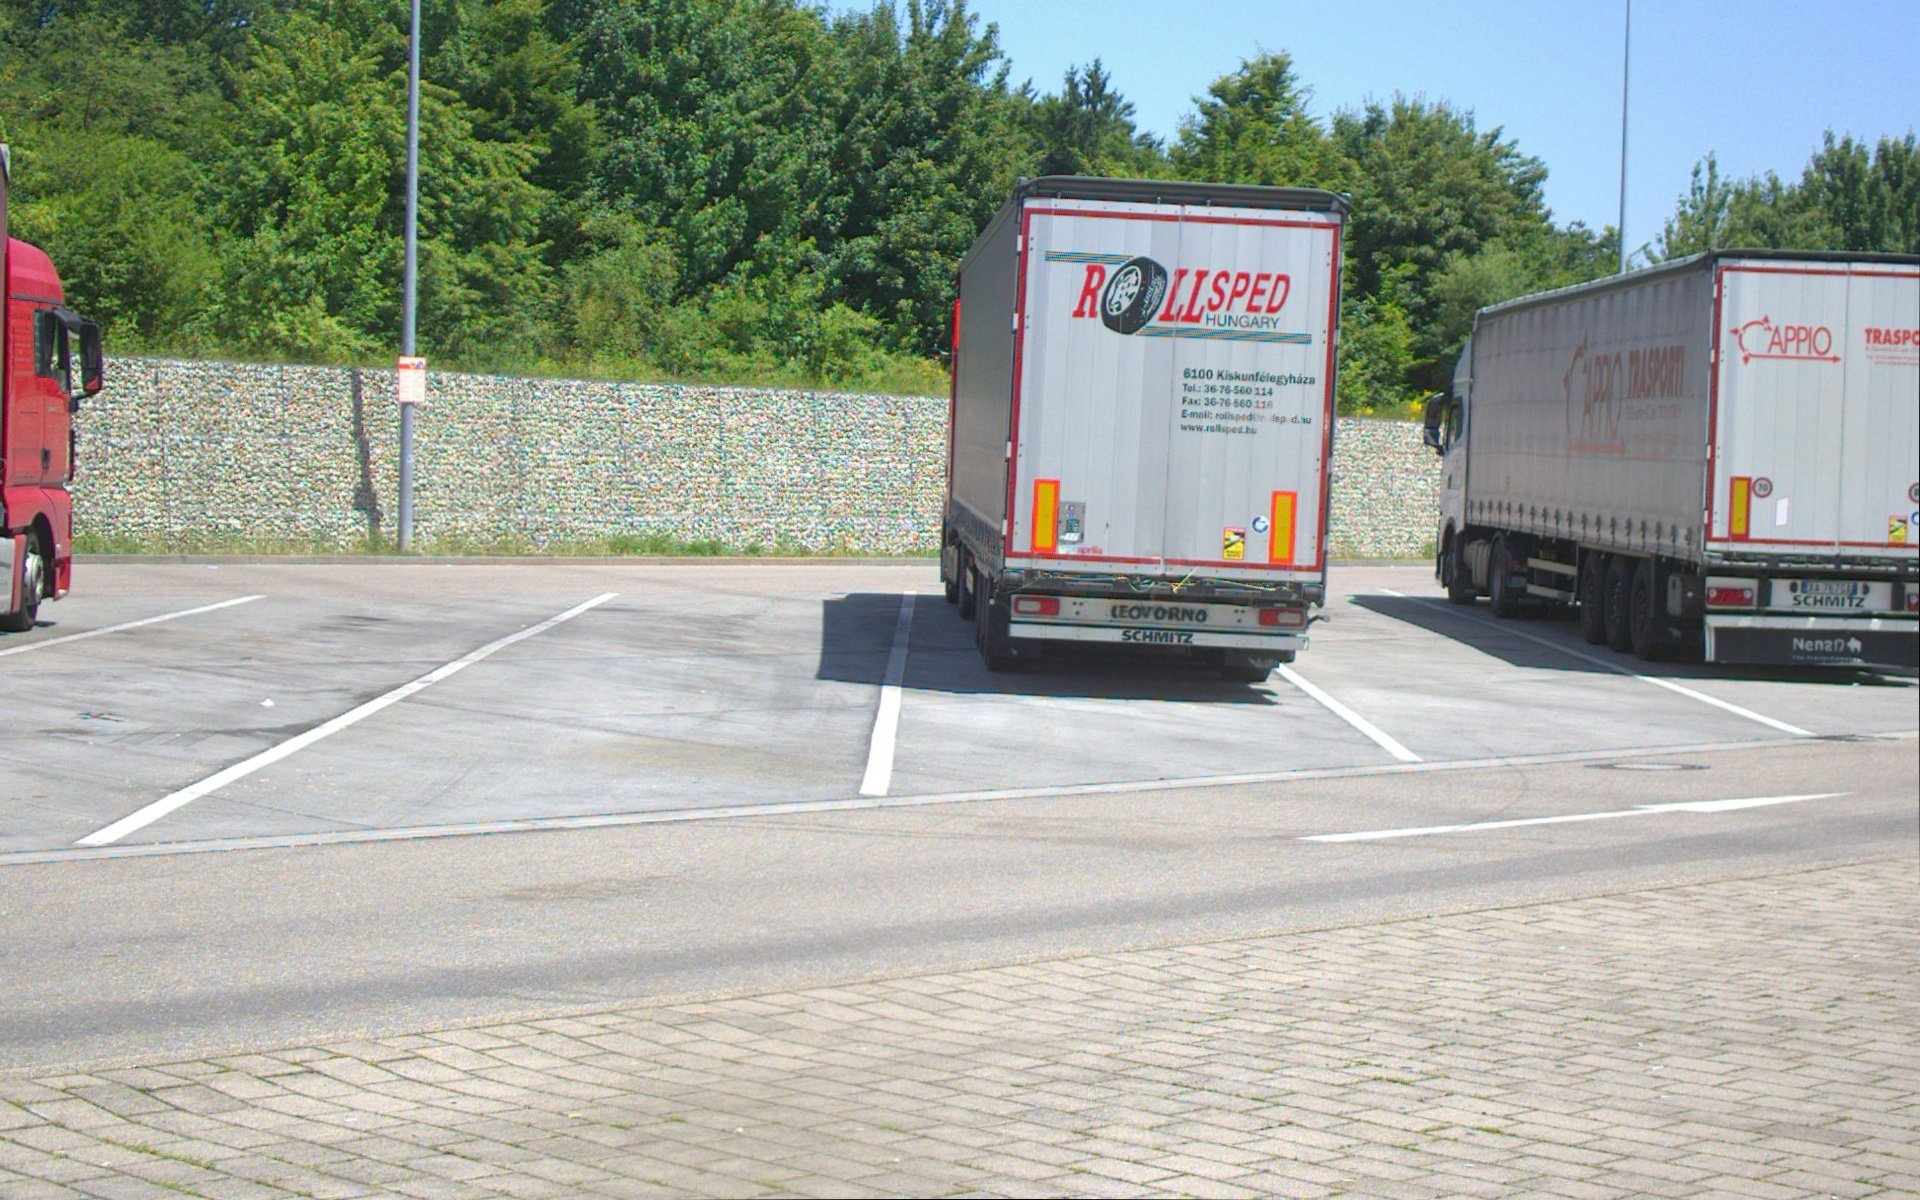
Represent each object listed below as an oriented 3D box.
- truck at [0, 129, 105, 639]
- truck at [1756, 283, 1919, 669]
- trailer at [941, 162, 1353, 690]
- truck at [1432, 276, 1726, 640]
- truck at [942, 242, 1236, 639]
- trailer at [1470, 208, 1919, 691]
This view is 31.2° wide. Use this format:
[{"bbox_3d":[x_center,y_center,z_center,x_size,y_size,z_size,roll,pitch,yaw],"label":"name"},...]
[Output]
[{"bbox_3d":[-9.167,-1.773,28.366,2.805,4.119,5.894,1,2,-1],"label":"truck"},{"bbox_3d":[11.739,-1.348,38.689,2.587,4.211,11.971,1,1,-1],"label":"truck"},{"bbox_3d":[1.400,-1.510,31.951,2.897,4.000,11.318,1,2,-1],"label":"trailer"},{"bbox_3d":[7.991,-1.832,45.094,2.661,4.437,5.864,1,2,-1],"label":"truck"},{"bbox_3d":[1.284,-1.703,37.693,2.871,3.967,6.030,1,2,-1],"label":"truck"},{"bbox_3d":[8.122,-1.588,38.160,2.681,4.437,12.831,1,2,-1],"label":"trailer"}]
